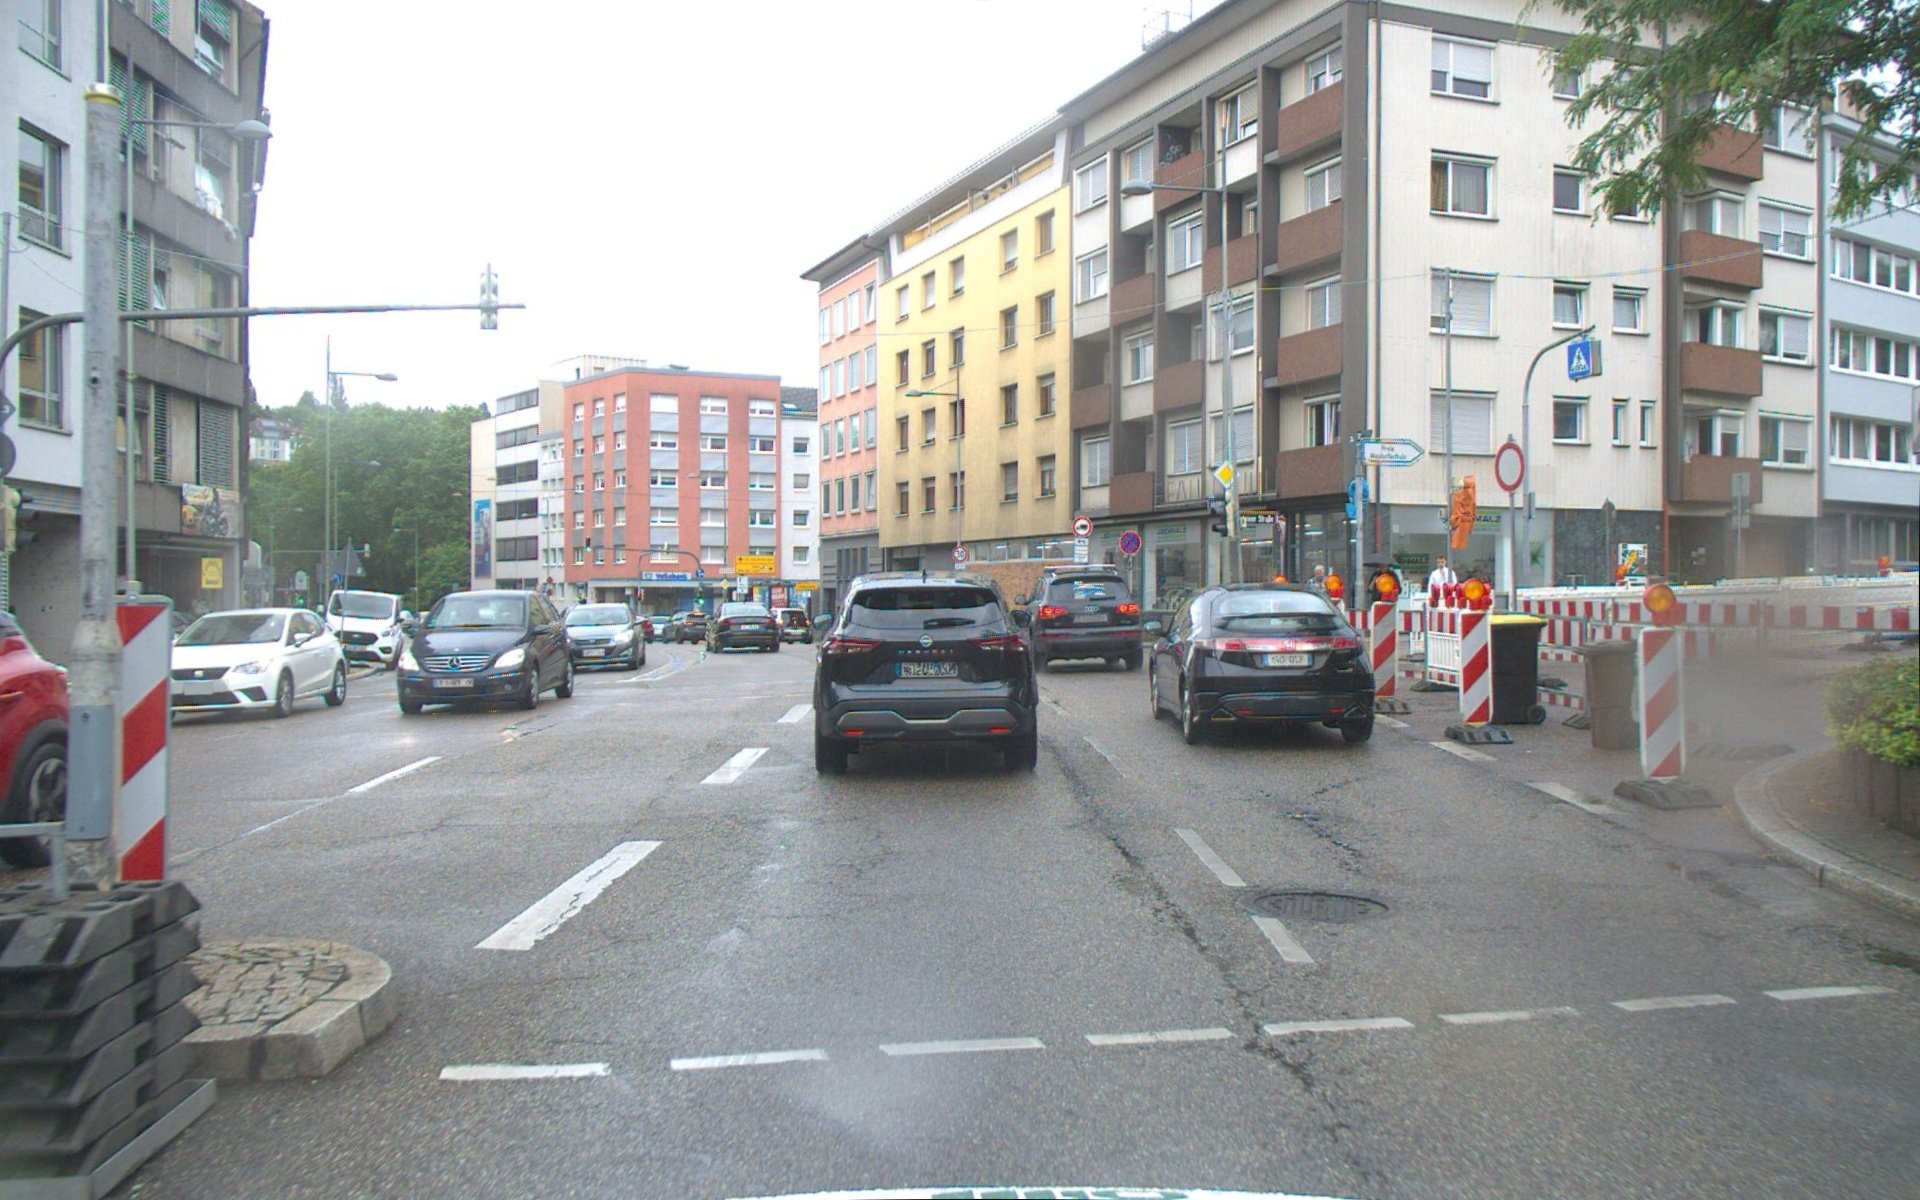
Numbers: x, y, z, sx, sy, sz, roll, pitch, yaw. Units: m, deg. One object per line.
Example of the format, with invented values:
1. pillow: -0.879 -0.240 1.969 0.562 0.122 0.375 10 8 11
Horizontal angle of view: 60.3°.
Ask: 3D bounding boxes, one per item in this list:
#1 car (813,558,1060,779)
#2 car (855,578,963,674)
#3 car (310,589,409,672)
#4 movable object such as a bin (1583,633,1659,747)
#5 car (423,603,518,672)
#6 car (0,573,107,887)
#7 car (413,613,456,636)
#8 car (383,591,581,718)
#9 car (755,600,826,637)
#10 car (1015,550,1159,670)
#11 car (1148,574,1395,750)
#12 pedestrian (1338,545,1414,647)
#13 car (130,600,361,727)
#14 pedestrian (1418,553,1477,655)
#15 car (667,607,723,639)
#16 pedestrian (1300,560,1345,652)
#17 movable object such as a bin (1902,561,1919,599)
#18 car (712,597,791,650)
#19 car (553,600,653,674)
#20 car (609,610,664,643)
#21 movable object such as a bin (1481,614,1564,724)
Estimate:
1. car: -0.268 0.528 14.529 1.856 1.657 3.998 1 0 -3
2. car: -1.075 0.488 32.849 1.907 1.714 3.997 -2 0 -4
3. car: -16.085 0.854 44.517 2.084 2.050 5.105 2 -2 -16
4. movable object such as a bin: 5.777 0.779 14.472 0.411 0.945 0.531 -2 1 -4
5. car: -12.142 0.900 41.249 1.895 1.499 4.588 -3 0 -13
6. car: -5.831 0.694 7.634 1.810 1.622 4.088 -1 0 -3
7. car: -36.235 1.695 113.921 1.915 1.553 4.090 -1 -1 -31
8. car: -6.557 0.682 23.147 1.794 1.570 4.280 -1 0 -4
9. car: -7.375 0.793 71.602 1.967 1.512 3.971 2 -1 -23
10. car: 2.183 0.217 29.806 1.981 1.902 4.897 -2 -1 -2
11. car: 2.964 0.511 16.546 1.747 1.523 4.057 0 1 1
12. pedestrian: 7.936 -0.069 31.546 0.912 1.893 1.015 0 -3 -44
13. car: -9.764 0.801 22.972 1.738 1.550 4.278 -1 0 -7
14. pedestrian: 9.326 0.082 31.644 0.646 1.912 0.987 -4 -3 42
15. car: -13.729 1.179 85.549 1.966 1.545 3.972 2 -1 -22
16. pedestrian: 6.997 0.118 31.957 0.775 1.717 0.822 -2 -2 12
17. movable object such as a bin: 27.470 -0.573 47.530 0.532 1.066 0.525 2 -1 -34
18. car: -6.104 0.686 47.966 1.958 1.412 4.487 2 -1 -11
19. car: -7.928 0.783 37.031 1.818 1.500 4.639 -2 0 -8
20. car: -16.121 1.286 82.334 1.965 1.557 3.974 2 -1 -21
21. movable object such as a bin: 5.633 0.680 16.588 0.608 1.049 0.531 -2 1 -4
